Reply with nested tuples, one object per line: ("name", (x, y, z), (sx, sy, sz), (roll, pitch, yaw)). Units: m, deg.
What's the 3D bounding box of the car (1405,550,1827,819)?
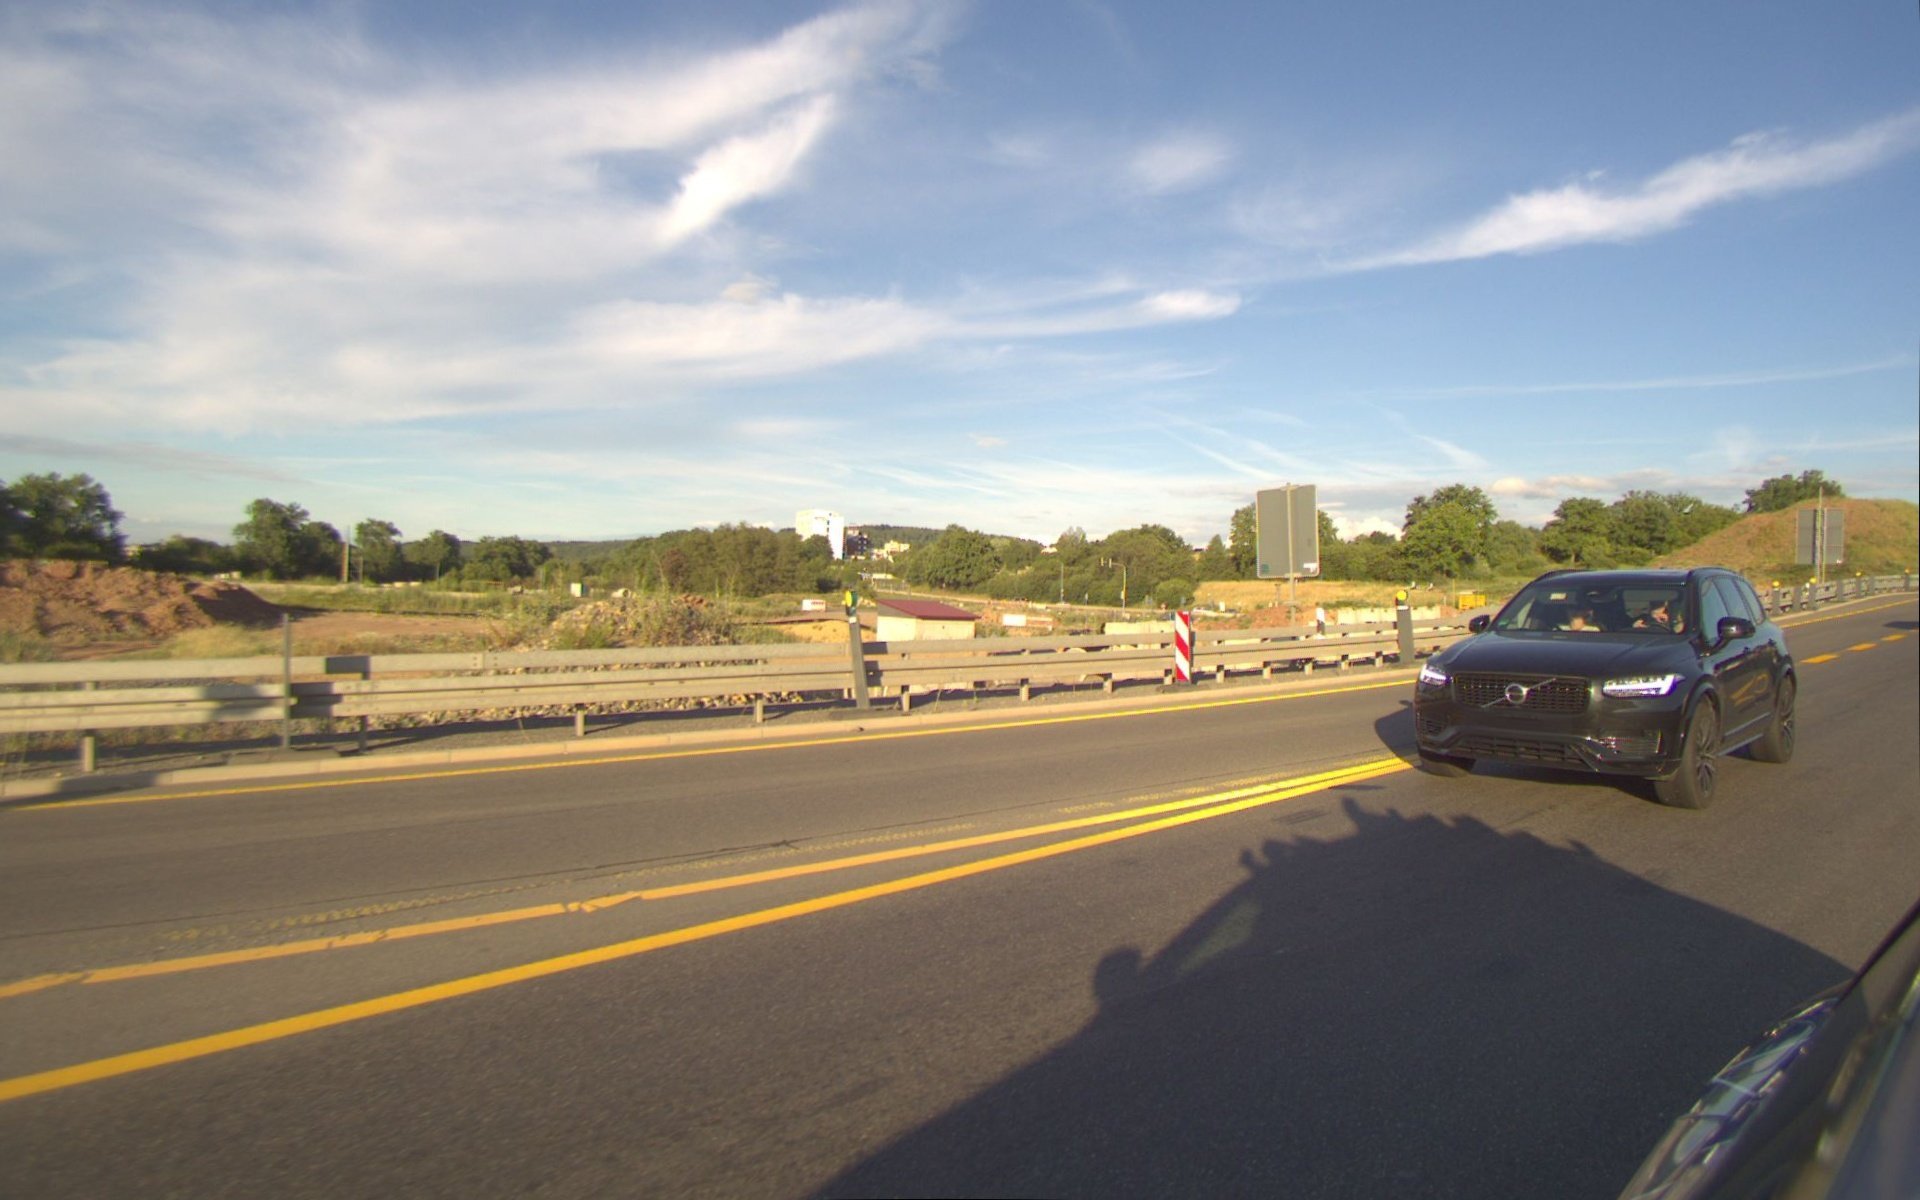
("car", (5.922, 0.521, 8.846), (4.803, 1.735, 1.900), (-1, 0, -42))
